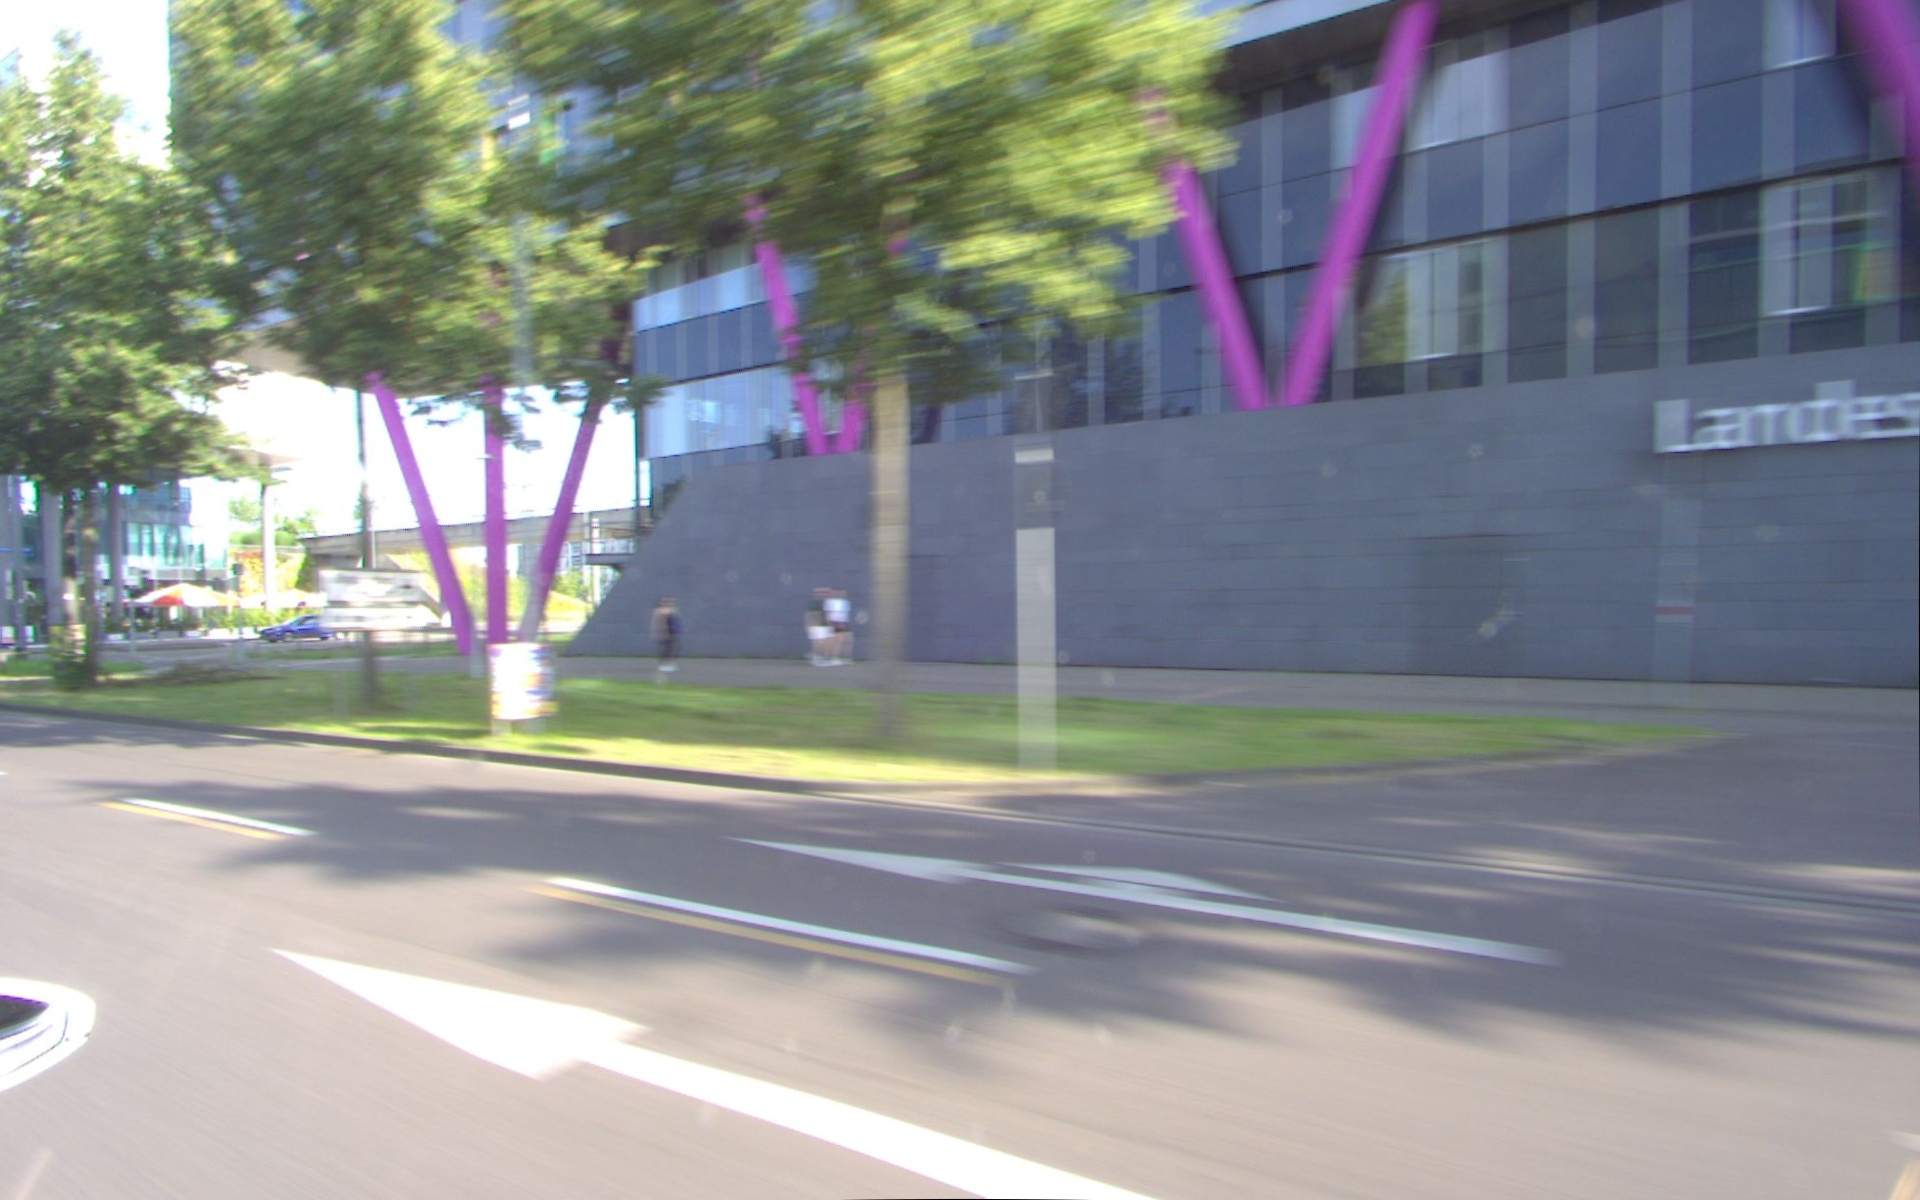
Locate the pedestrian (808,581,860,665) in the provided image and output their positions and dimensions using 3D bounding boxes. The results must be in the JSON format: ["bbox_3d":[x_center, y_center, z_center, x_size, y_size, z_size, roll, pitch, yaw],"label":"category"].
[{"bbox_3d":[-2.865,0.500,22.764,0.840,1.850,0.766,0,3,29],"label":"pedestrian"}]

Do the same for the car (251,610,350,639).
[{"bbox_3d":[-36.054,1.311,54.858,1.831,1.443,4.178,0,1,29],"label":"car"}]

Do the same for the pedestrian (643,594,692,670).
[{"bbox_3d":[-6.571,0.701,22.510,0.725,1.661,0.692,0,3,29],"label":"pedestrian"}]

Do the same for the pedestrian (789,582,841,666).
[{"bbox_3d":[-3.225,0.529,22.316,0.831,1.818,0.753,0,3,29],"label":"pedestrian"}]
